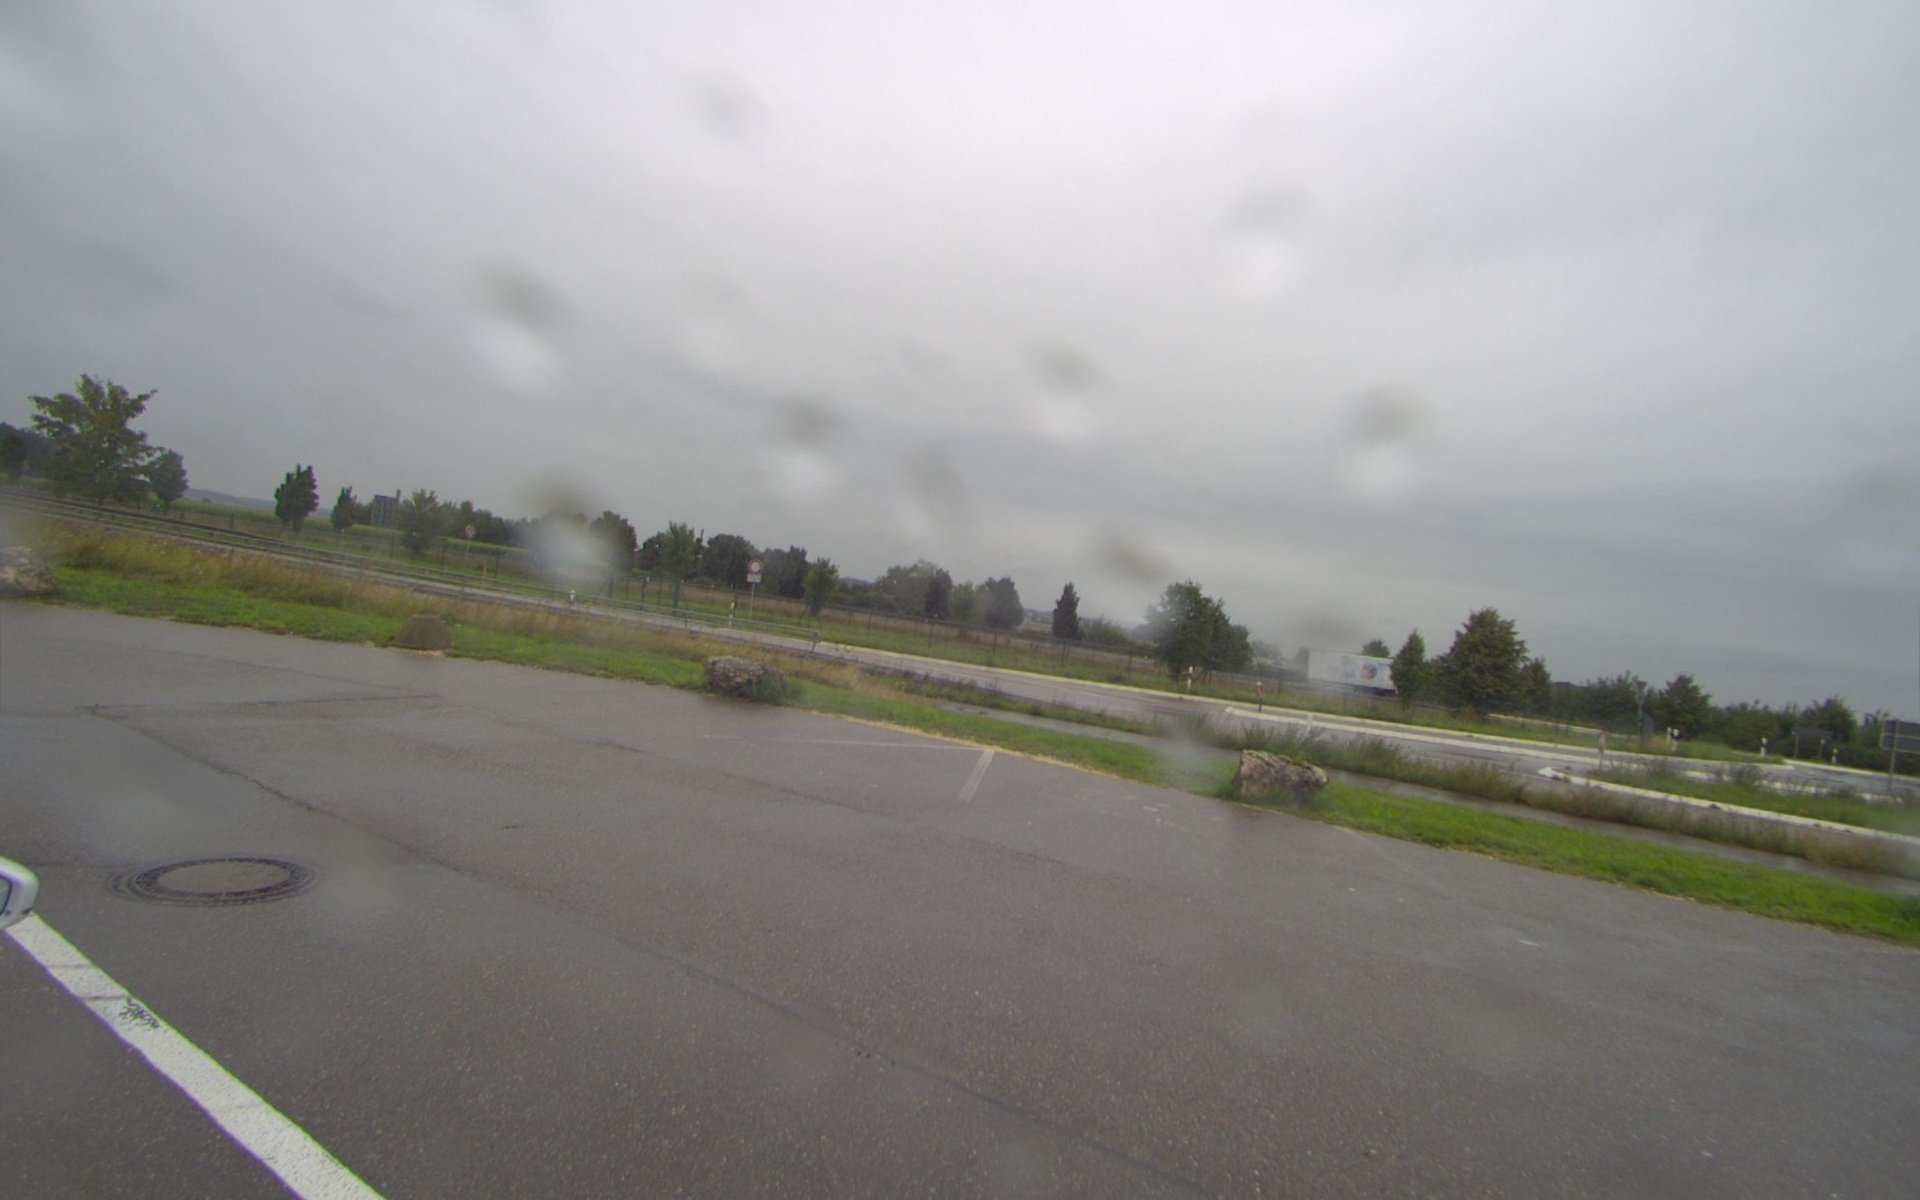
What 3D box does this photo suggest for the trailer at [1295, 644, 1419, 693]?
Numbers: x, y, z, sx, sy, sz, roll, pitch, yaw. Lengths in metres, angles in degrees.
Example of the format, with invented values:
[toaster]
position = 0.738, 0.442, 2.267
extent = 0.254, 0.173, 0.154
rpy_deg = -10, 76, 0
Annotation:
[trailer]
position = 35.373, 6.087, 89.993
extent = 10.007, 2.936, 2.196
rpy_deg = 7, -1, 44

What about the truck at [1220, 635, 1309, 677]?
[truck]
position = 29.036, 5.335, 96.132
extent = 7.689, 2.942, 2.173
rpy_deg = 7, -1, 44
